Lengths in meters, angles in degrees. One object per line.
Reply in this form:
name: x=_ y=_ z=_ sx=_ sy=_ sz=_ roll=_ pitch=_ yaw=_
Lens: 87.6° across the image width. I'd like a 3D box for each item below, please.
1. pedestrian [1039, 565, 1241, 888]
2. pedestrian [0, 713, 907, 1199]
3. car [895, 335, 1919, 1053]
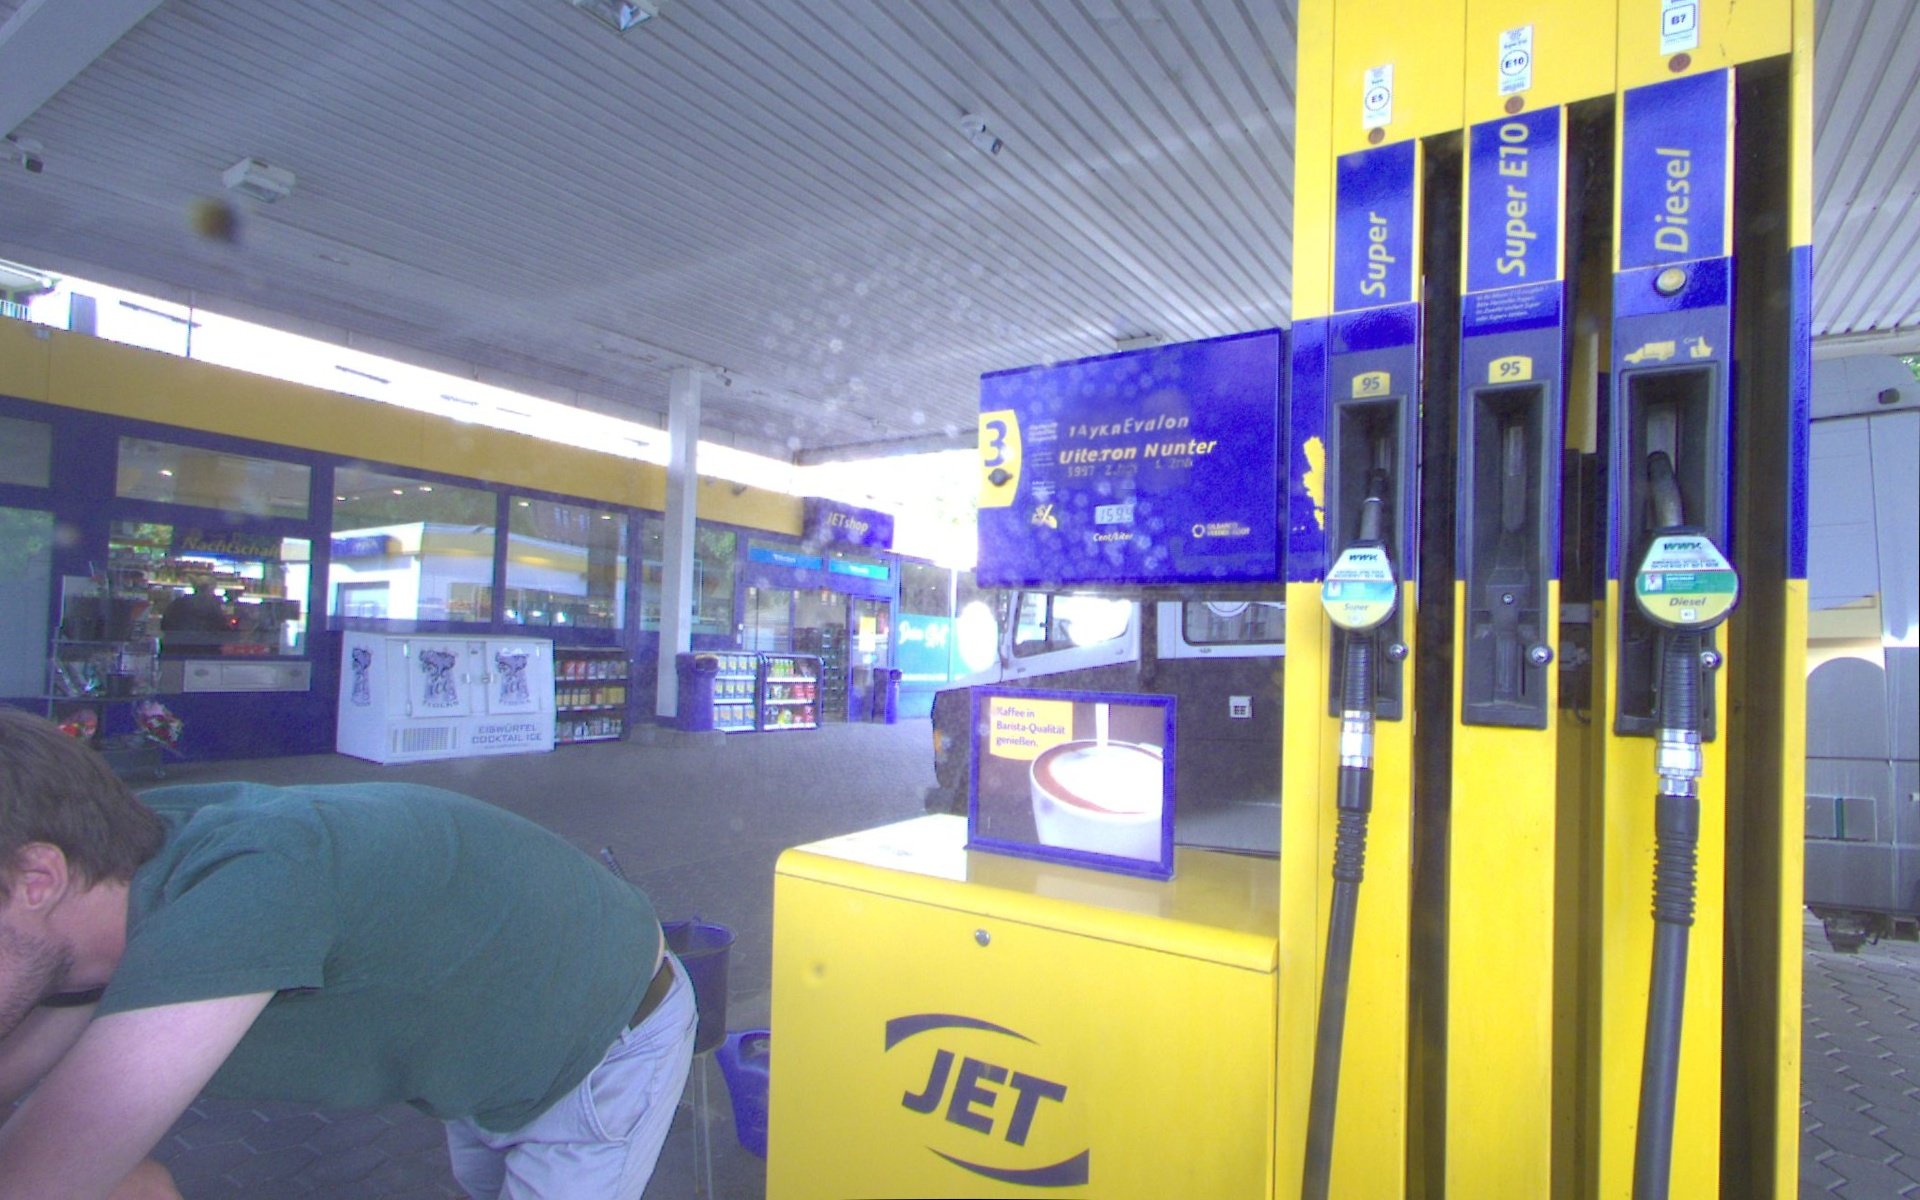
pedestrian: x=1.133 y=0.722 z=6.208 sx=0.966 sy=1.785 sz=0.976 roll=-1 pitch=-2 yaw=30
pedestrian: x=-0.538 y=0.809 z=1.069 sx=0.664 sy=1.298 sz=0.749 roll=-1 pitch=-1 yaw=31
car: x=2.386 y=0.415 z=6.014 sx=5.219 sy=2.724 sz=2.250 roll=0 pitch=-3 yaw=34
